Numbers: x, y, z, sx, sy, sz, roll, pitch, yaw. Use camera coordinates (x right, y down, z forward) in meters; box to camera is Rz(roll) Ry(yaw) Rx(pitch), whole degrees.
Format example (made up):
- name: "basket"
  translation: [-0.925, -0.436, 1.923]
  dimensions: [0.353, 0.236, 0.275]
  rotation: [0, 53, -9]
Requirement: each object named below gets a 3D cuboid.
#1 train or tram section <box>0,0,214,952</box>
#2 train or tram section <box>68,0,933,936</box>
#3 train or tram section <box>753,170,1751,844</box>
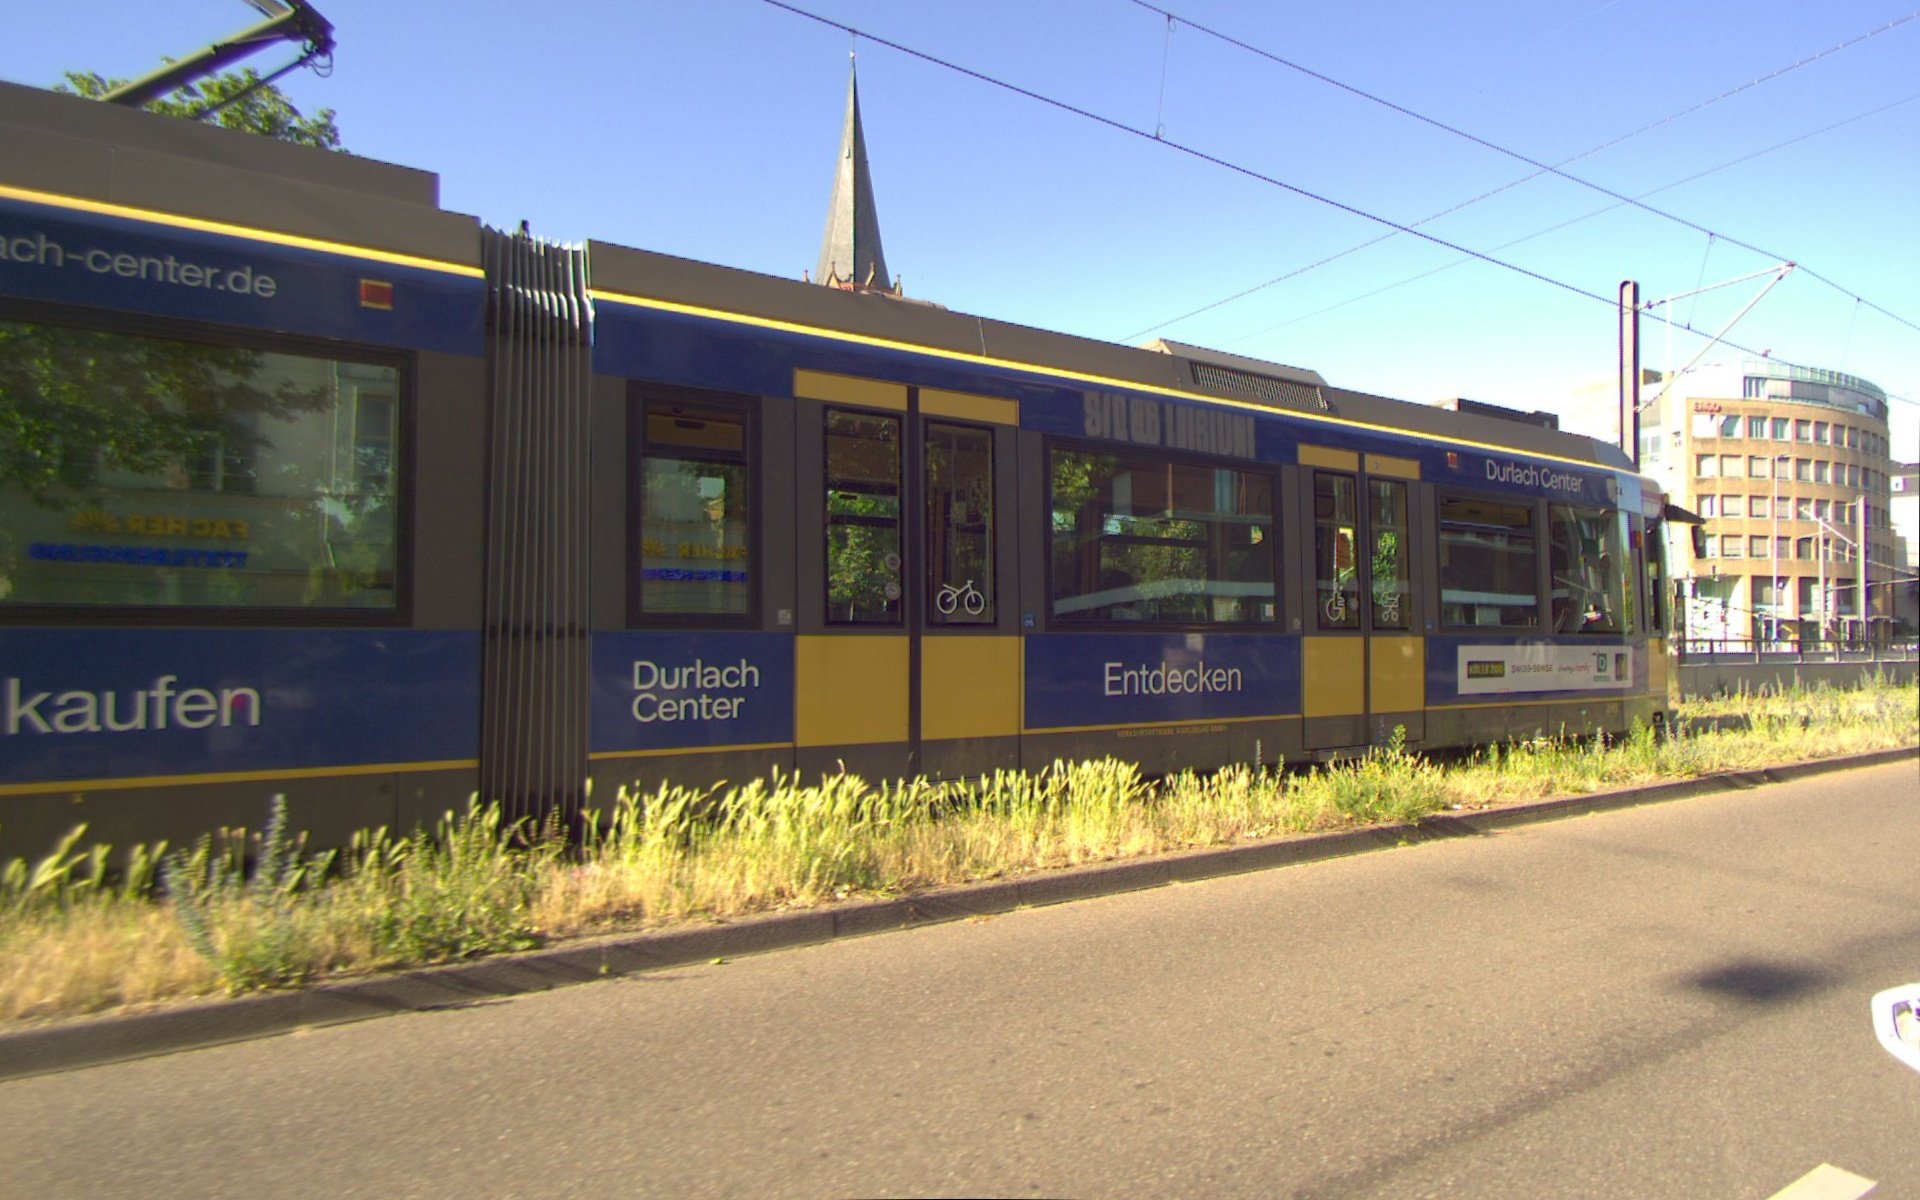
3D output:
- name: "train or tram section"
  translation: [-10.146, -0.757, 1.558]
  dimensions: [14.113, 3.863, 2.913]
  rotation: [2, 0, -32]
- name: "train or tram section"
  translation: [-2.580, -0.606, 6.236]
  dimensions: [3.821, 3.949, 2.940]
  rotation: [2, 0, -31]
- name: "train or tram section"
  translation: [3.612, -0.421, 9.908]
  dimensions: [10.678, 3.949, 2.938]
  rotation: [2, 0, -31]
